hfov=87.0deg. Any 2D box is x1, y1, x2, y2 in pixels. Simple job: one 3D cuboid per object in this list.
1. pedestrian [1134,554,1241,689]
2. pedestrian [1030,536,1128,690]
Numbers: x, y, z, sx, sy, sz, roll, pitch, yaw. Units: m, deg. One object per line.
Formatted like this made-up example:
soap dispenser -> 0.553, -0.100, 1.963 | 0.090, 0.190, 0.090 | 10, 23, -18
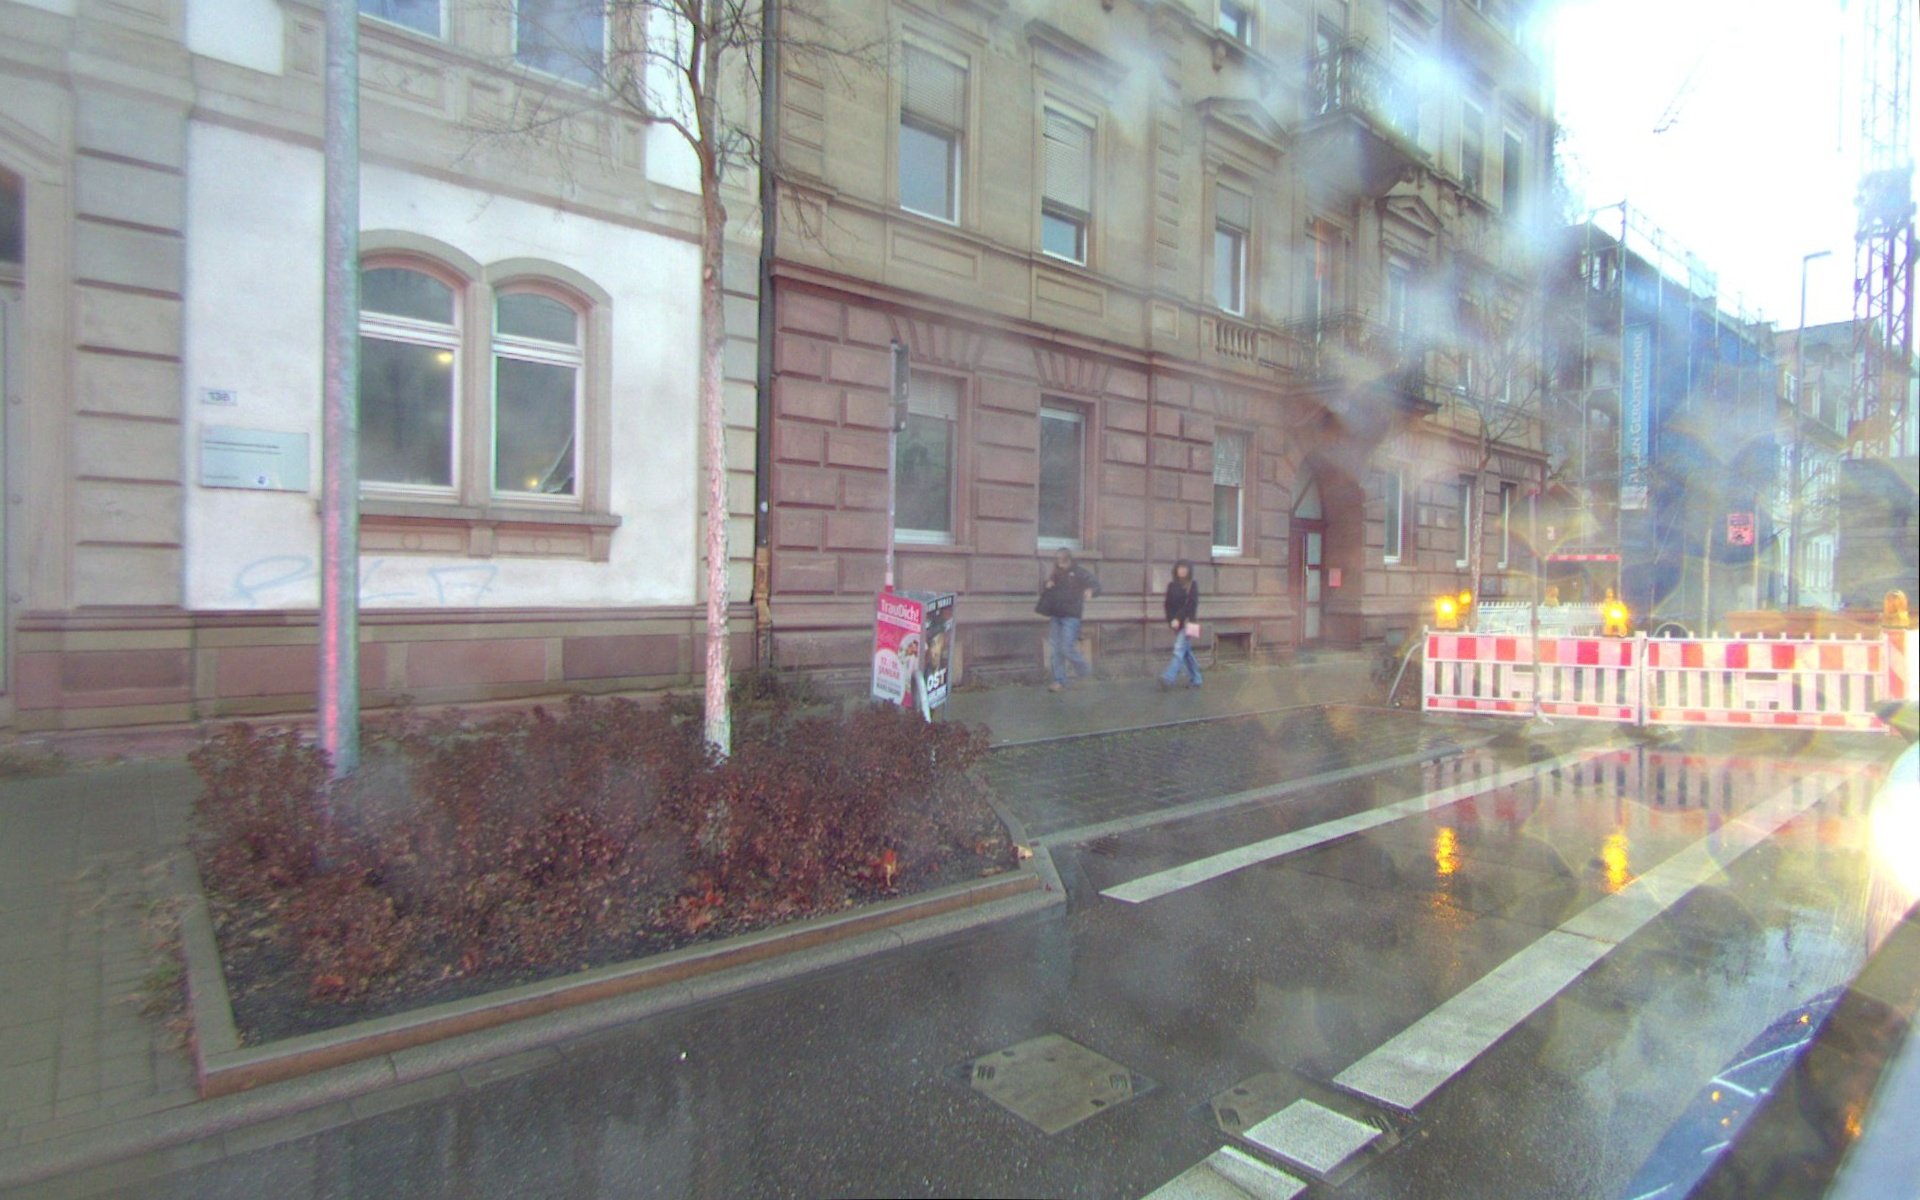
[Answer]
pedestrian -> 2.780, 0.231, 12.378 | 0.913, 1.564, 0.870 | 0, 2, -40
pedestrian -> 1.373, 0.128, 11.726 | 0.694, 1.693, 0.870 | 0, 1, -37
